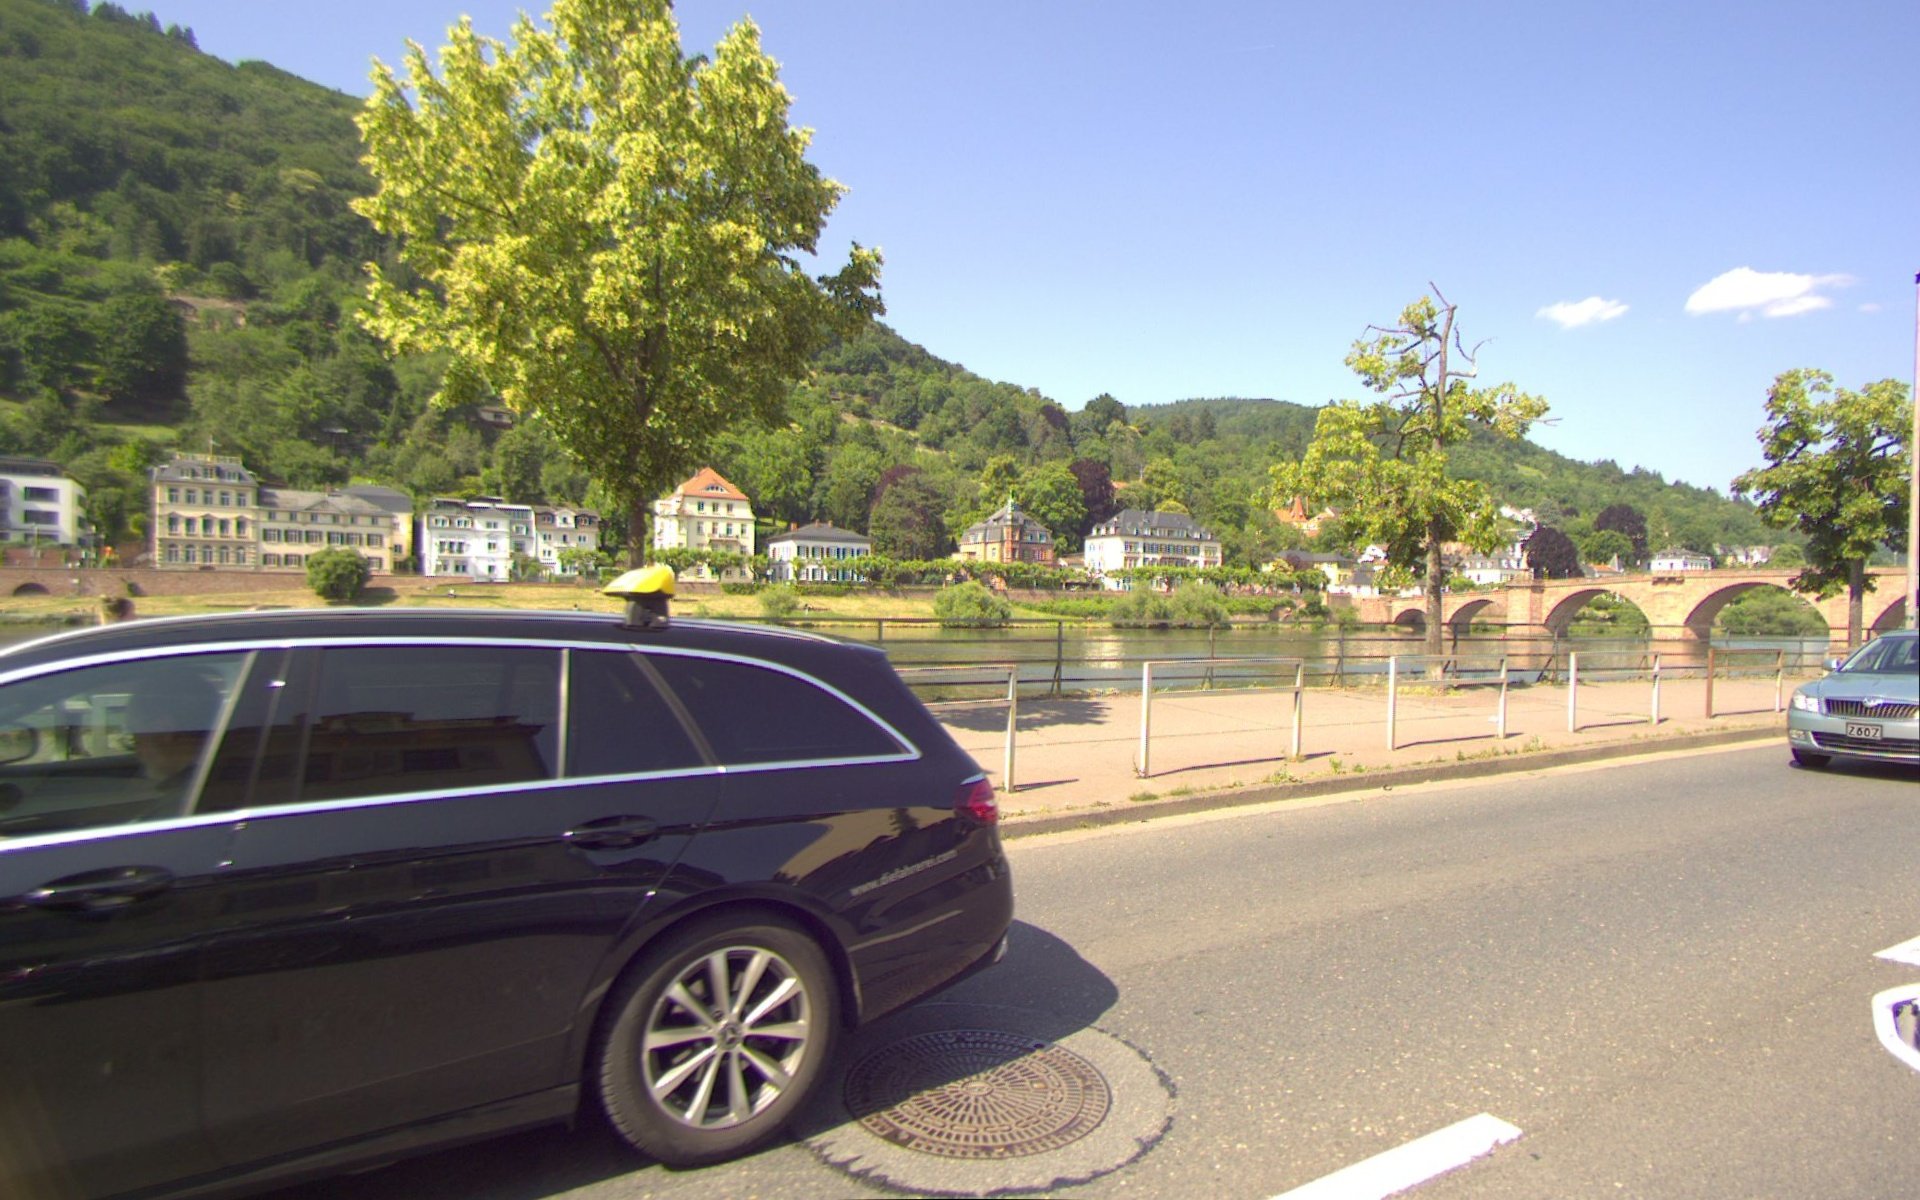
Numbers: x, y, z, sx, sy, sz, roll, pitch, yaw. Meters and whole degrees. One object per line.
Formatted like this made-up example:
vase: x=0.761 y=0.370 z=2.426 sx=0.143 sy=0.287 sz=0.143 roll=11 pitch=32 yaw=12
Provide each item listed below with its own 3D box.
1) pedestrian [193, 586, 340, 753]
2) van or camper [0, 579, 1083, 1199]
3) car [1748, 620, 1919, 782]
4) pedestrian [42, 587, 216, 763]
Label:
pedestrian: x=-5.748 y=0.545 z=8.385 sx=0.838 sy=1.298 sz=0.933 roll=1 pitch=0 yaw=-25
van or camper: x=-2.071 y=0.725 z=2.864 sx=4.631 sy=1.474 sz=1.983 roll=1 pitch=-2 yaw=-32
car: x=10.316 y=0.940 z=10.475 sx=4.258 sy=1.447 sz=1.806 roll=0 pitch=-1 yaw=-29
pedestrian: x=-6.556 y=0.558 z=7.988 sx=0.838 sy=1.298 sz=0.933 roll=1 pitch=0 yaw=-25
